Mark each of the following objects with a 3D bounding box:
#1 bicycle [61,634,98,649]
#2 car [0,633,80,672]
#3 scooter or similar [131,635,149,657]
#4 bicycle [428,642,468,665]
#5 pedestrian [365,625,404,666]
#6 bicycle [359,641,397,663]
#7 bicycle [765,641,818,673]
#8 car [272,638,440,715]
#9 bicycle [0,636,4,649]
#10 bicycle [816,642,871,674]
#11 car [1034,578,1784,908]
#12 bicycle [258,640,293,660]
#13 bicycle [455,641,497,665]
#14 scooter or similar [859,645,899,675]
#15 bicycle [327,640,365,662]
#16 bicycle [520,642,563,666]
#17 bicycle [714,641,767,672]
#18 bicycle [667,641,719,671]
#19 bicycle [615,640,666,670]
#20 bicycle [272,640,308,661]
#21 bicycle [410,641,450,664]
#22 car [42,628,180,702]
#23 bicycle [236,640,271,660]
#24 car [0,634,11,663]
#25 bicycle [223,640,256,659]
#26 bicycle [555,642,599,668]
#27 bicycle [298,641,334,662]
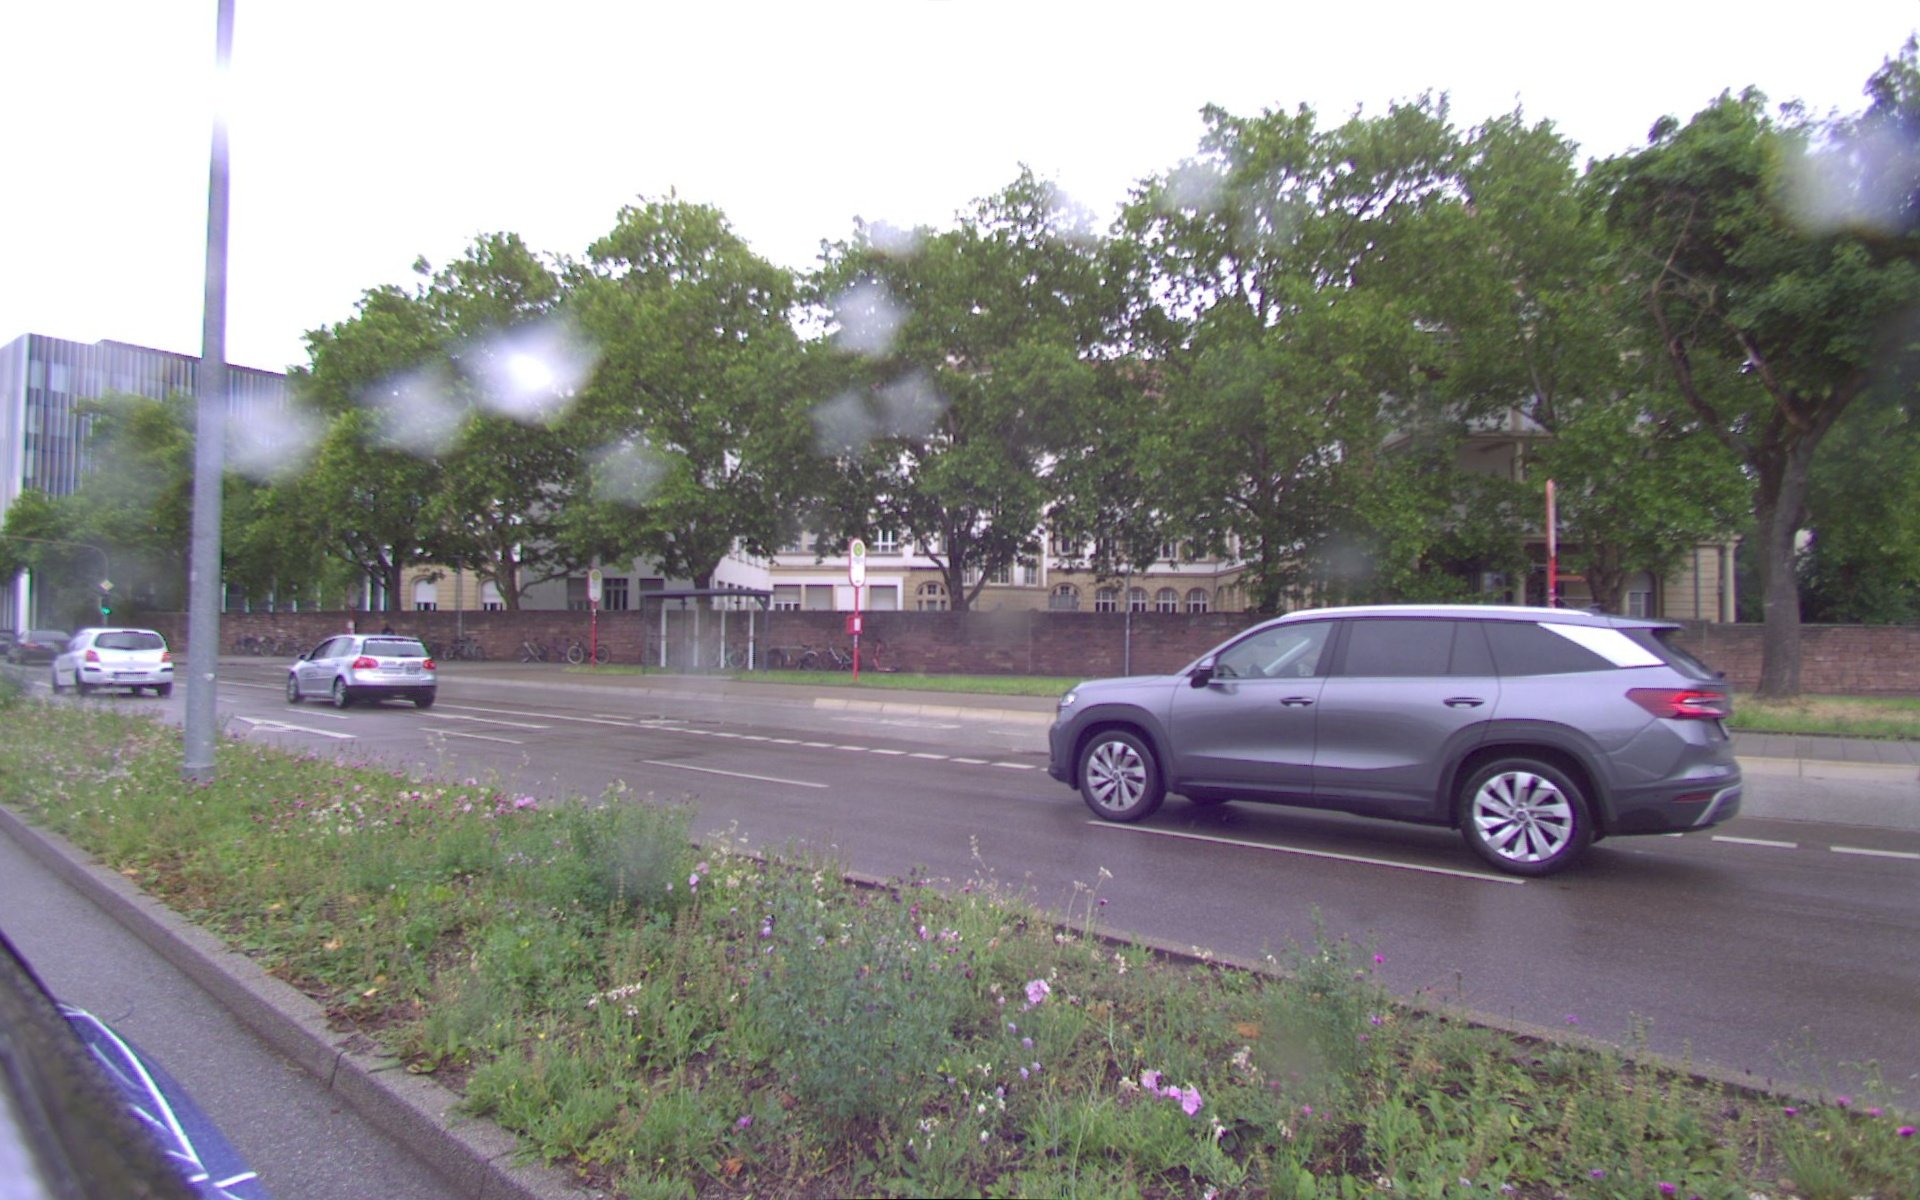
[{"bbox_3d":[-72.478,3.423,83.329,0.595,1.231,2.266,-1,-3,25],"label":"bicycle"},{"bbox_3d":[-38.831,2.183,42.609,4.697,1.552,1.791,-1,-4,39],"label":"car"},{"bbox_3d":[-47.575,2.662,58.714,1.139,1.206,0.388,-1,4,34],"label":"scooter or similar"},{"bbox_3d":[-22.388,2.319,44.251,1.693,0.990,0.727,-1,-2,27],"label":"bicycle"},{"bbox_3d":[-24.501,1.921,43.095,1.395,1.708,0.861,-1,-3,32],"label":"pedestrian"},{"bbox_3d":[-26.693,2.370,46.411,1.693,0.990,0.727,-1,-2,27],"label":"bicycle"},{"bbox_3d":[-6.291,2.111,37.782,1.978,1.144,0.570,-1,-3,23],"label":"bicycle"},{"bbox_3d":[-12.504,1.515,20.869,4.154,1.415,1.662,-2,-4,40],"label":"car"},{"bbox_3d":[-95.765,4.172,99.707,0.595,1.231,2.266,-1,-3,25],"label":"bicycle"},{"bbox_3d":[-4.305,2.126,37.289,1.978,1.144,0.570,-1,-3,23],"label":"bicycle"},{"bbox_3d":[2.976,0.818,7.349,4.600,1.648,1.973,-1,-5,41],"label":"car"},{"bbox_3d":[-34.406,2.514,50.880,1.693,0.990,0.727,-1,-2,27],"label":"bicycle"},{"bbox_3d":[-20.486,2.240,42.871,1.693,0.990,0.727,-1,-2,27],"label":"bicycle"},{"bbox_3d":[-2.956,2.171,36.783,1.353,1.055,0.569,-1,-3,22],"label":"scooter or similar"},{"bbox_3d":[-29.039,2.418,47.860,1.693,0.990,0.727,-1,-2,27],"label":"bicycle"},{"bbox_3d":[-17.395,2.241,42.091,1.693,0.990,0.727,-1,-2,27],"label":"bicycle"},{"bbox_3d":[-8.384,2.136,38.641,1.978,1.144,0.570,-1,-3,23],"label":"bicycle"},{"bbox_3d":[-10.349,2.151,39.252,1.975,1.144,0.571,-1,-3,19],"label":"bicycle"},{"bbox_3d":[-12.630,2.169,39.993,1.975,1.144,0.571,-1,-3,19],"label":"bicycle"},{"bbox_3d":[-32.746,2.464,49.466,1.858,0.990,0.726,-1,-2,32],"label":"bicycle"},{"bbox_3d":[-23.541,2.341,44.953,1.693,0.990,0.727,-1,-2,27],"label":"bicycle"},{"bbox_3d":[-19.013,1.398,22.618,3.865,1.513,1.662,-2,-4,40],"label":"car"},{"bbox_3d":[-35.992,2.534,51.560,1.693,0.990,0.727,-1,-2,27],"label":"bicycle"},{"bbox_3d":[-48.213,2.356,49.799,4.062,1.426,1.607,-1,-4,39],"label":"car"},{"bbox_3d":[-37.594,2.576,52.792,1.693,0.990,0.727,-1,-2,27],"label":"bicycle"},{"bbox_3d":[-15.571,2.230,41.094,1.693,0.990,0.727,-1,-2,27],"label":"bicycle"},{"bbox_3d":[-31.015,2.485,48.725,1.693,0.990,0.727,-1,-2,27],"label":"bicycle"}]
